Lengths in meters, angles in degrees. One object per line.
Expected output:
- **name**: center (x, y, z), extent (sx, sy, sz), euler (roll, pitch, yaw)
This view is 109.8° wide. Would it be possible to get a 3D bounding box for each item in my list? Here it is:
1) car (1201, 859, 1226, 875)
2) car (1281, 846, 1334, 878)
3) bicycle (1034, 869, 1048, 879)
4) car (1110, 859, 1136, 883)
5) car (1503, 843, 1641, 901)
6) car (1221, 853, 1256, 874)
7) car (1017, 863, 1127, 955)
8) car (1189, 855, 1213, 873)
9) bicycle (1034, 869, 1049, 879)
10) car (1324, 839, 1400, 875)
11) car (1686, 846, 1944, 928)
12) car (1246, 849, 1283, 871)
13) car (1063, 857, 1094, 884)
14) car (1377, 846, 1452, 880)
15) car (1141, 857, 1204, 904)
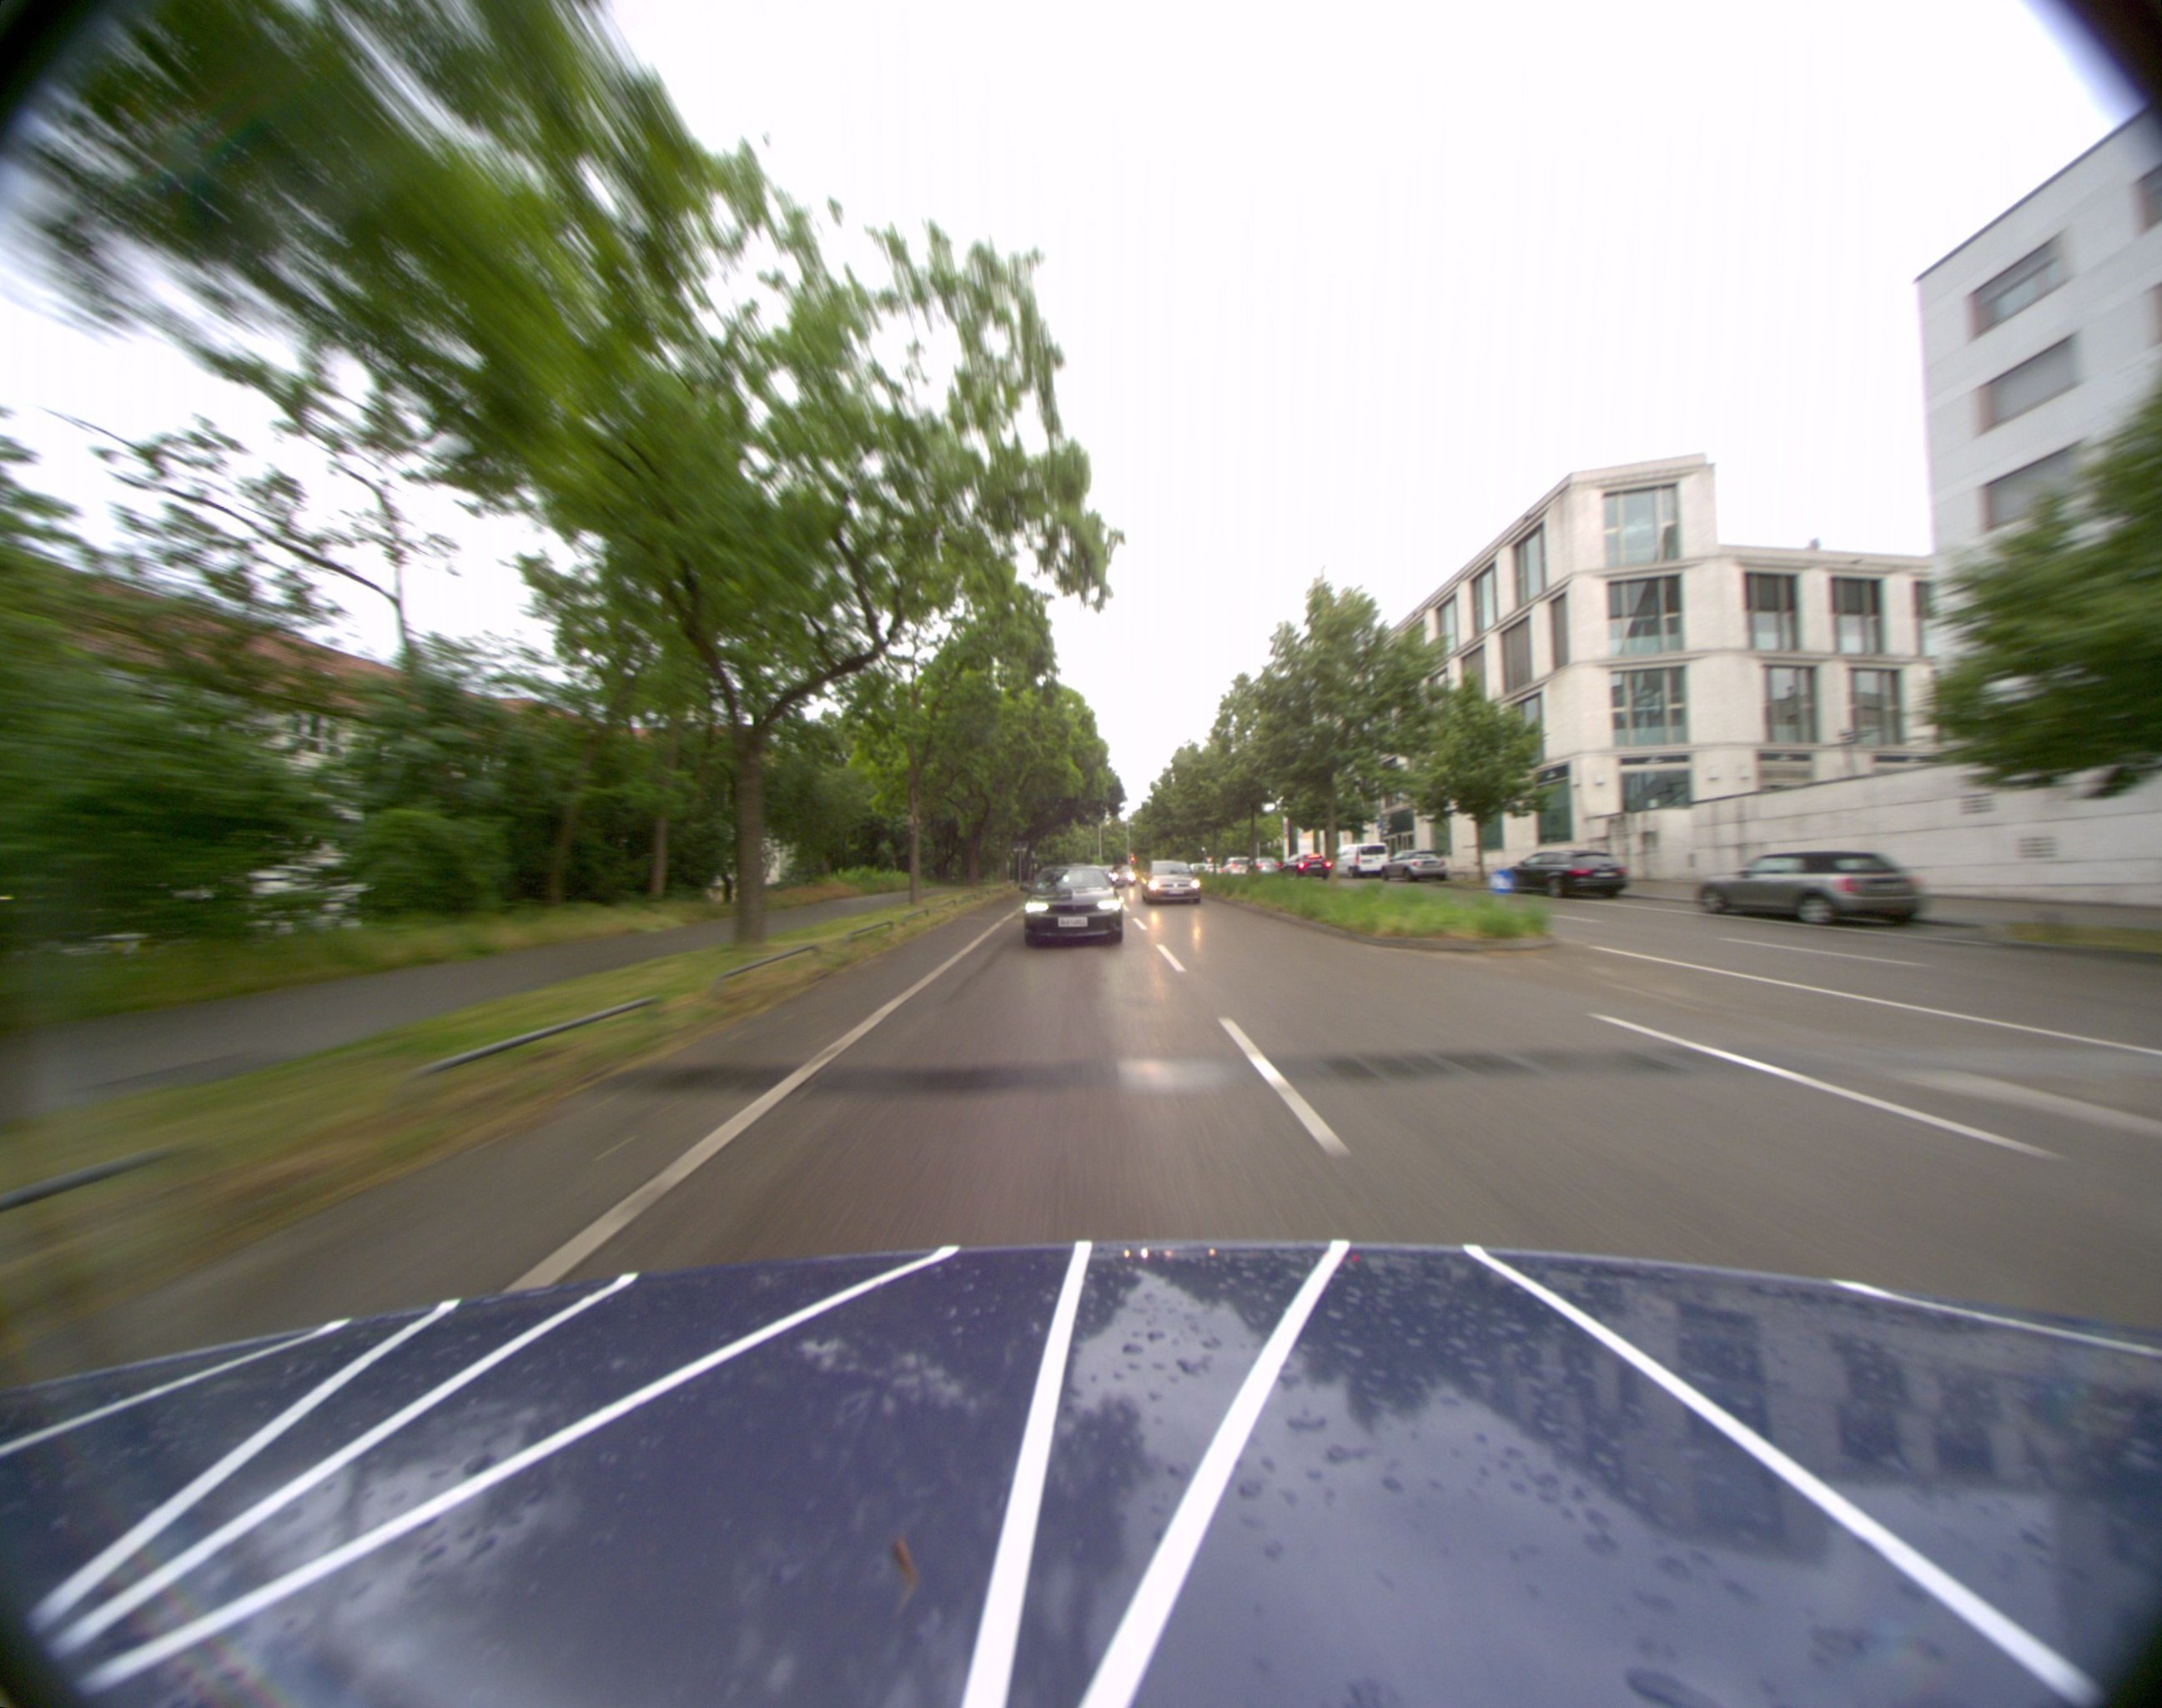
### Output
- **car**: center (12.743, 1.232, 73.380), extent (1.748, 1.459, 4.061), euler (0, -1, 1)
- **car**: center (12.505, 0.428, 42.129), extent (1.699, 1.572, 4.017), euler (-3, 0, 0)
- **bicycle**: center (-4.392, 2.209, 83.208), extent (1.490, 1.124, 0.556), euler (2, -1, -6)
- **car**: center (2.931, 1.225, 52.624), extent (1.669, 1.520, 3.660), euler (-2, -2, 4)
- **car**: center (15.081, 0.479, 23.620), extent (1.699, 1.572, 4.016), euler (-2, 1, 1)
- **car**: center (12.534, 0.786, 60.872), extent (1.834, 1.591, 4.675), euler (-2, -1, 0)
- **car**: center (-0.200, 0.970, 15.261), extent (1.804, 1.422, 4.519), euler (-3, 0, -1)
- **car**: center (13.247, 1.150, 84.190), extent (1.848, 1.790, 4.776), euler (-3, -3, 1)
- **bicycle**: center (-4.277, 2.166, 82.079), extent (1.490, 1.124, 0.556), euler (2, -1, -6)
- **car**: center (15.407, 0.188, 42.015), extent (2.127, 1.805, 5.260), euler (-2, -1, -1)
- **car**: center (15.073, 0.620, 15.939), extent (1.699, 1.436, 3.860), euler (-3, 0, 2)
- **car**: center (12.720, 0.432, 52.832), extent (1.645, 1.402, 3.998), euler (0, -2, 0)
- **car**: center (-0.176, 1.065, 46.680), extent (1.645, 1.511, 3.579), euler (-2, -2, -4)
- **car**: center (15.118, 0.398, 34.676), extent (1.699, 1.376, 3.698), euler (-3, 0, -1)
- **car**: center (3.089, 0.890, 26.277), extent (1.904, 1.431, 4.002), euler (-2, -1, 4)
